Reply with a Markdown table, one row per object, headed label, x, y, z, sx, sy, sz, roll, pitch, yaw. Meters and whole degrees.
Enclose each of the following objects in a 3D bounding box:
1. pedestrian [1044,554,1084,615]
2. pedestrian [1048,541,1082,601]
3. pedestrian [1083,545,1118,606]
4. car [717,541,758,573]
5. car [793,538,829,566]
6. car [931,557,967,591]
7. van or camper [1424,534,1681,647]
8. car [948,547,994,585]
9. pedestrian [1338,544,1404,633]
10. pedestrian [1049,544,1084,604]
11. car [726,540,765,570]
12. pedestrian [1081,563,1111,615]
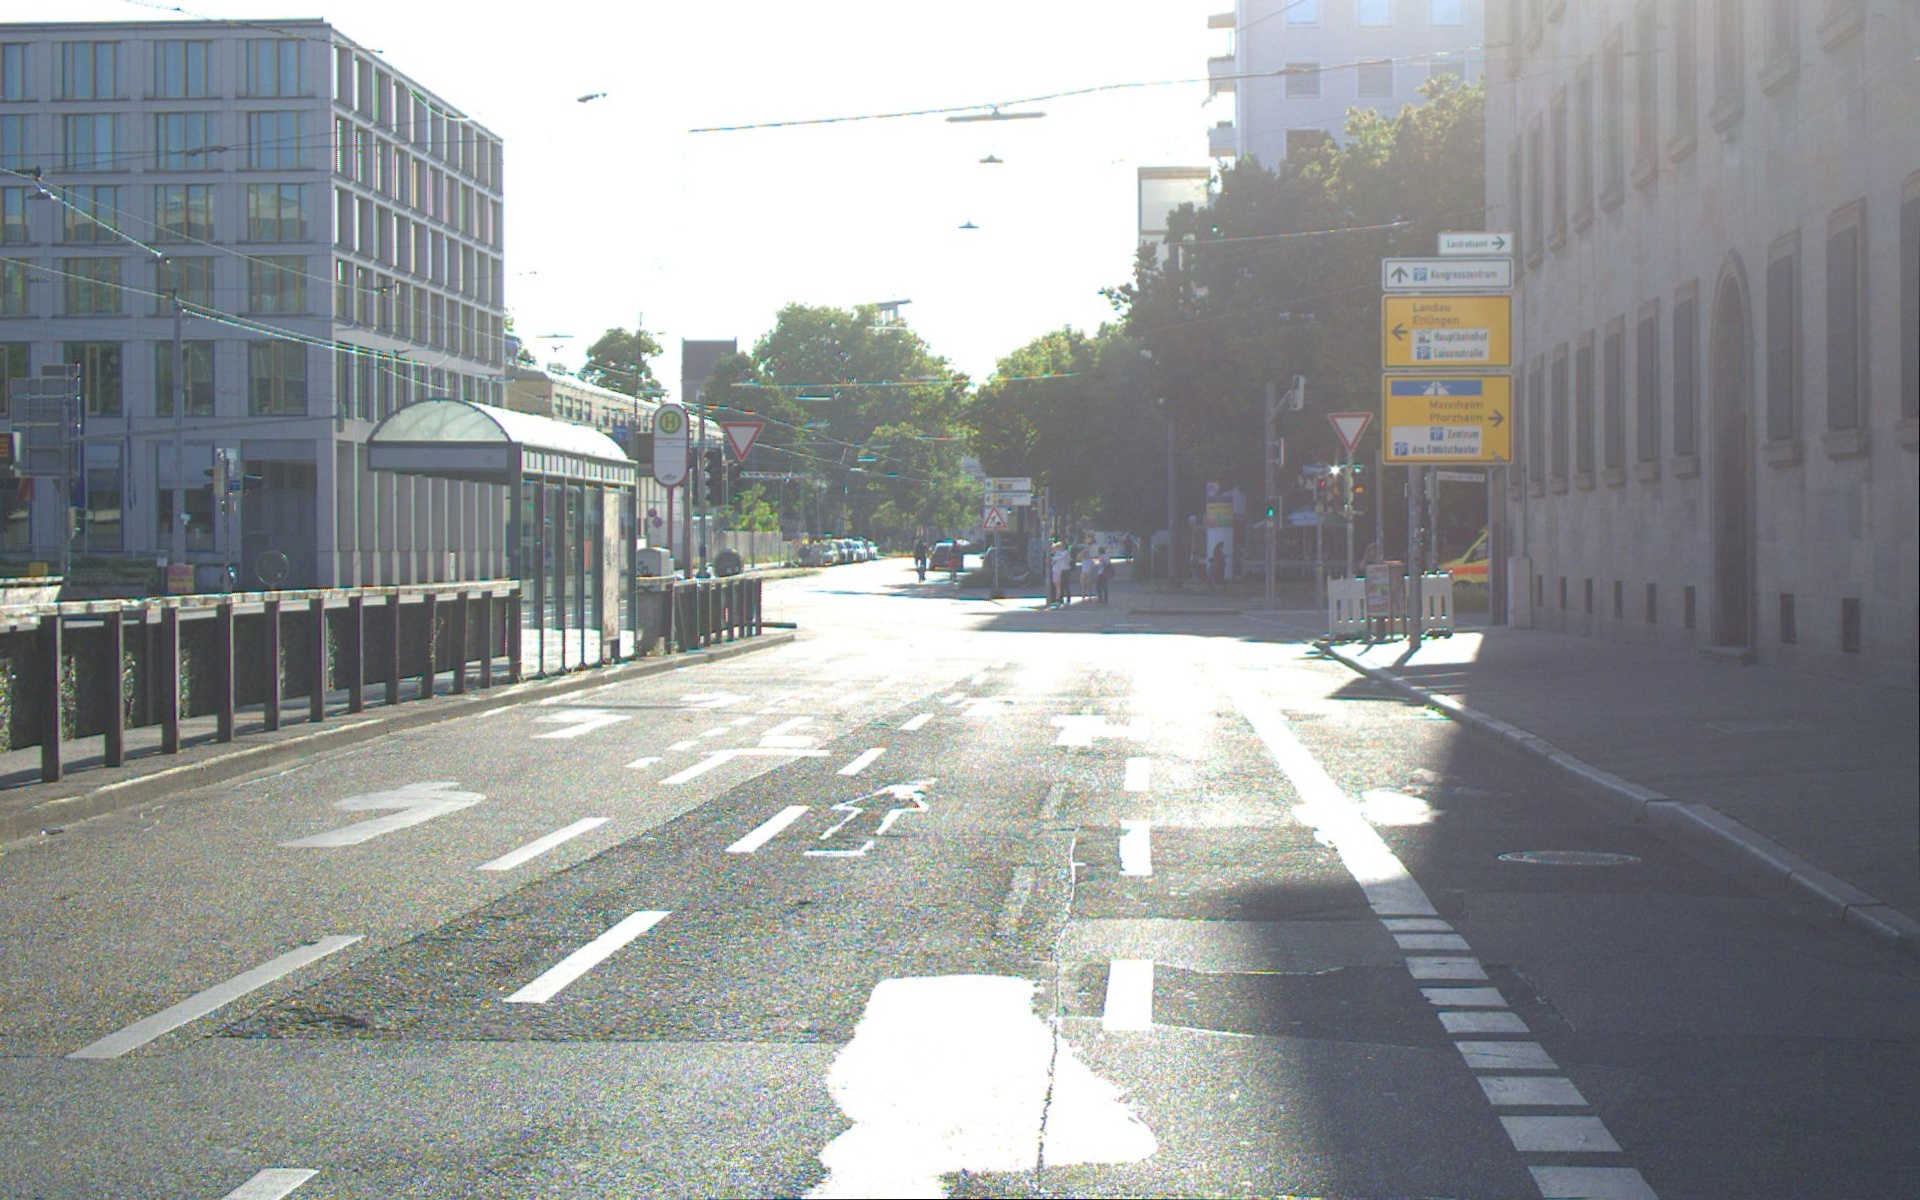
| label | x | y | z | sx | sy | sz | roll | pitch | yaw |
| --- | --- | --- | --- | --- | --- | --- | --- | --- | --- |
| pedestrian | 3.042 | -0.466 | 100.615 | 0.965 | 1.778 | 0.780 | -1 | 1 | -13 |
| pedestrian | 3.155 | -0.863 | 103.245 | 0.847 | 1.778 | 0.780 | -1 | 1 | -13 |
| pedestrian | 4.147 | -0.719 | 101.730 | 0.847 | 1.778 | 0.780 | -1 | 1 | -13 |
| car | -12.307 | -2.394 | 190.354 | 1.819 | 1.706 | 3.805 | -1 | 1 | 3 |
| car | -9.213 | -2.978 | 213.168 | 1.819 | 1.706 | 3.805 | -1 | 1 | 3 |
| car | -0.565 | -1.373 | 181.251 | 1.684 | 1.731 | 3.508 | 1 | 0 | 3 |
| van or camper | 15.999 | -0.255 | 93.211 | 6.710 | 2.852 | 2.910 | 1 | 0 | 8 |
| car | 0.466 | -1.387 | 140.458 | 1.684 | 1.495 | 3.508 | 1 | 0 | 3 |
| pedestrian | 8.090 | -0.233 | 67.699 | 1.039 | 1.715 | 1.035 | -1 | 1 | -8 |
| pedestrian | 3.174 | -0.784 | 102.425 | 0.847 | 1.778 | 0.780 | -1 | 1 | -13 |
| car | -12.524 | -2.636 | 201.290 | 1.819 | 1.706 | 3.805 | -1 | 1 | 3 |
| pedestrian | 4.052 | -0.326 | 102.507 | 0.762 | 1.553 | 0.588 | -1 | 1 | -13 |
